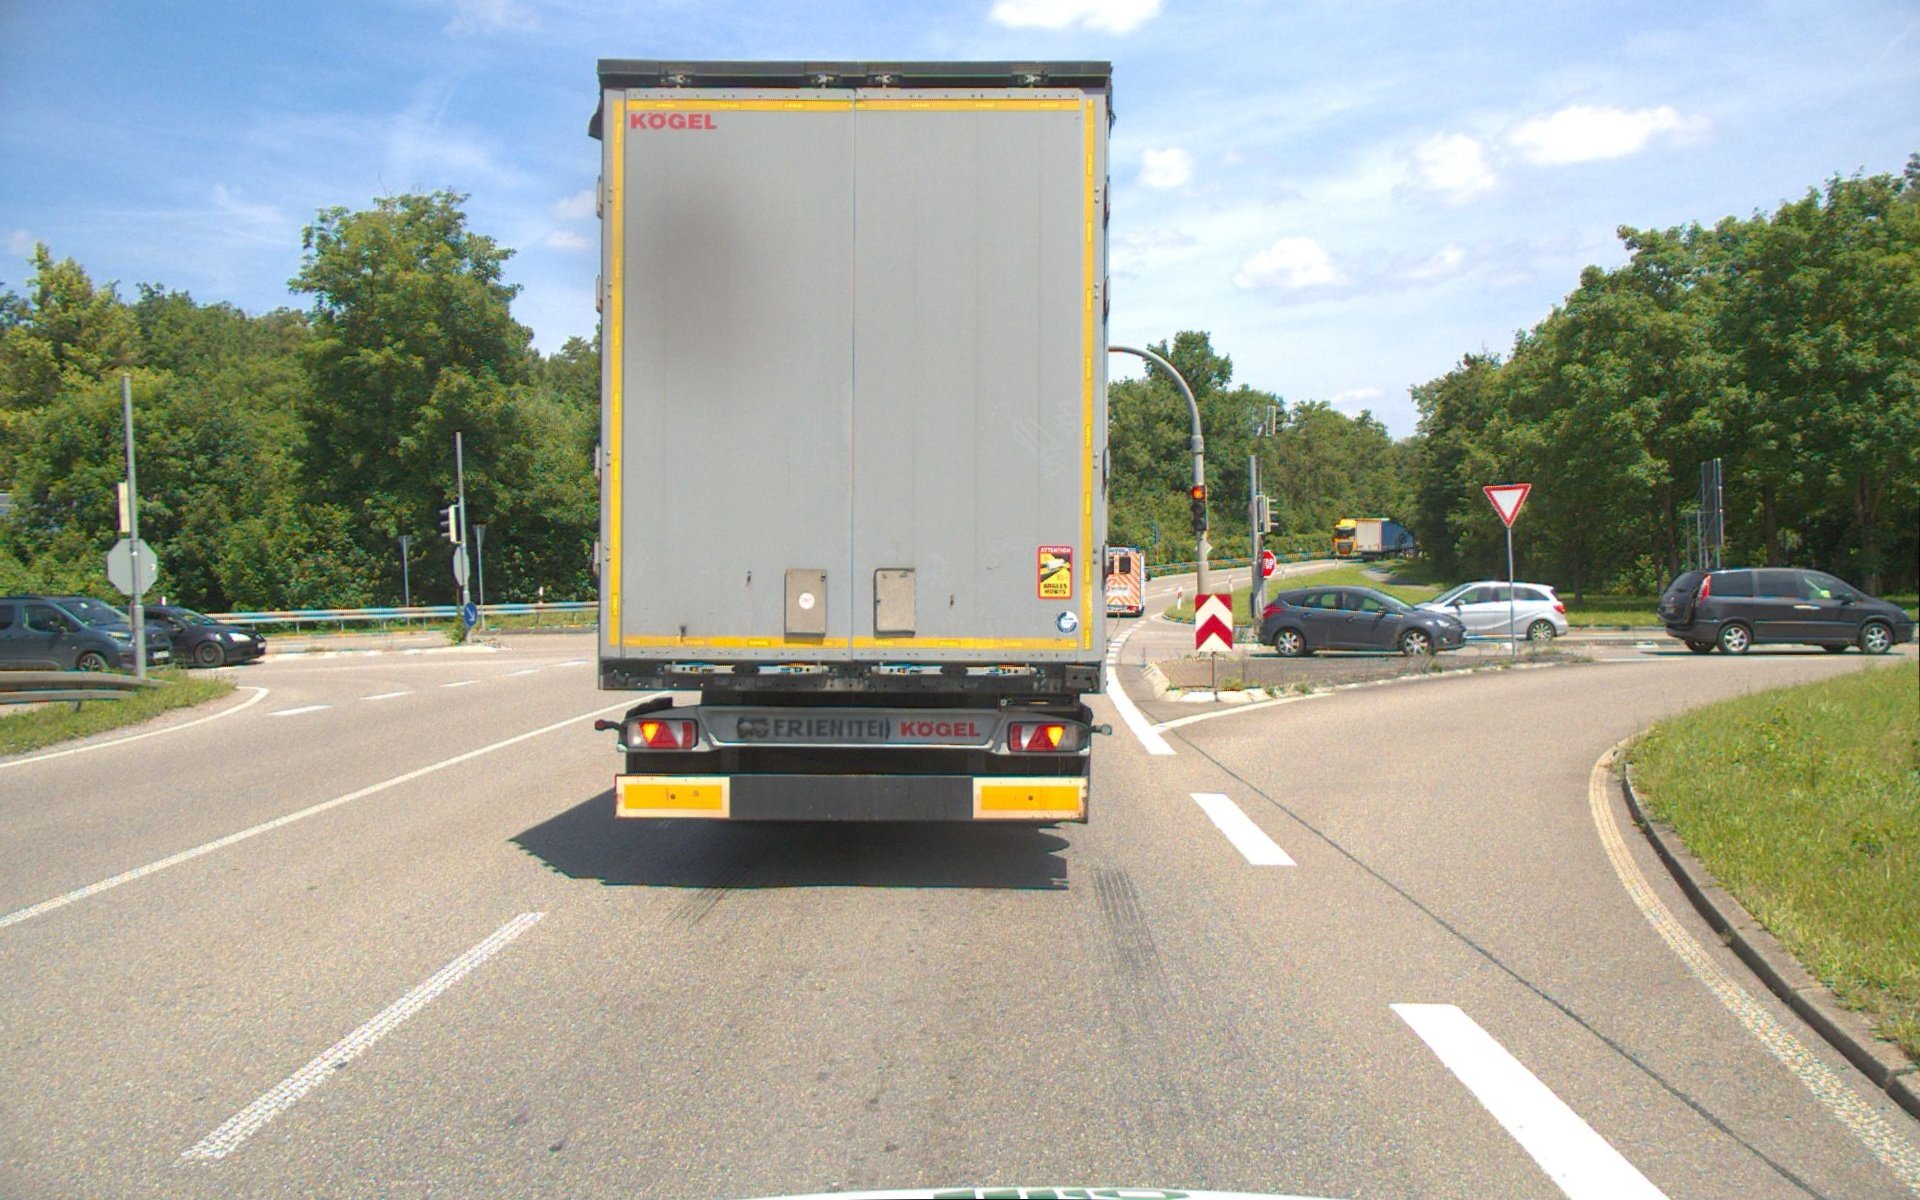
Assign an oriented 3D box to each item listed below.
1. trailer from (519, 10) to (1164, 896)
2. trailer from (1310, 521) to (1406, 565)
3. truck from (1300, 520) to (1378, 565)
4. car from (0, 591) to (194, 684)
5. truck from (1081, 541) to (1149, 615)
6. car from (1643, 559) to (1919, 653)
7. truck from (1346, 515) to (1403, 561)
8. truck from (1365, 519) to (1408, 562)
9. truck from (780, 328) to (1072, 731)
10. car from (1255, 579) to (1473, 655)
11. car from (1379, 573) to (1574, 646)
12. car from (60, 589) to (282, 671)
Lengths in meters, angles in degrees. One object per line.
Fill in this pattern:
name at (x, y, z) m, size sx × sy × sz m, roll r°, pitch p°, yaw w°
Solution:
trailer at (-0.413, -0.718, 13.967) m, size 2.988 × 4.104 × 12.561 m, roll 0°, pitch 0°, yaw 1°
trailer at (43.073, -6.099, 177.998) m, size 4.916 × 4.438 × 20.807 m, roll 0°, pitch 1°, yaw 28°
truck at (39.257, -5.910, 170.855) m, size 4.916 × 4.438 × 11.748 m, roll 0°, pitch 1°, yaw 29°
car at (-17.986, 0.754, 33.426) m, size 4.143 × 1.801 × 2.002 m, roll -1°, pitch 0°, yaw 9°
truck at (6.410, -0.851, 67.846) m, size 2.440 × 2.776 × 6.035 m, roll 0°, pitch -2°, yaw 8°
car at (16.745, 0.148, 33.717) m, size 4.823 × 1.816 × 2.000 m, roll 1°, pitch -2°, yaw 3°
truck at (40.947, -6.042, 163.032) m, size 3.116 × 4.099 × 11.734 m, roll 0°, pitch 0°, yaw 26°
truck at (43.403, -6.027, 168.141) m, size 3.107 × 4.074 × 5.809 m, roll 0°, pitch 0°, yaw 26°
truck at (-0.273, -0.736, 20.224) m, size 2.975 × 4.104 × 6.630 m, roll 0°, pitch 0°, yaw 1°
car at (8.512, 0.367, 34.838) m, size 4.160 × 1.517 × 1.998 m, roll 0°, pitch -2°, yaw 26°
car at (12.924, 0.254, 41.612) m, size 4.334 × 1.748 × 2.001 m, roll 1°, pitch -2°, yaw 4°
car at (-17.869, 0.675, 37.561) m, size 4.143 × 1.801 × 2.002 m, roll -1°, pitch 0°, yaw 9°
